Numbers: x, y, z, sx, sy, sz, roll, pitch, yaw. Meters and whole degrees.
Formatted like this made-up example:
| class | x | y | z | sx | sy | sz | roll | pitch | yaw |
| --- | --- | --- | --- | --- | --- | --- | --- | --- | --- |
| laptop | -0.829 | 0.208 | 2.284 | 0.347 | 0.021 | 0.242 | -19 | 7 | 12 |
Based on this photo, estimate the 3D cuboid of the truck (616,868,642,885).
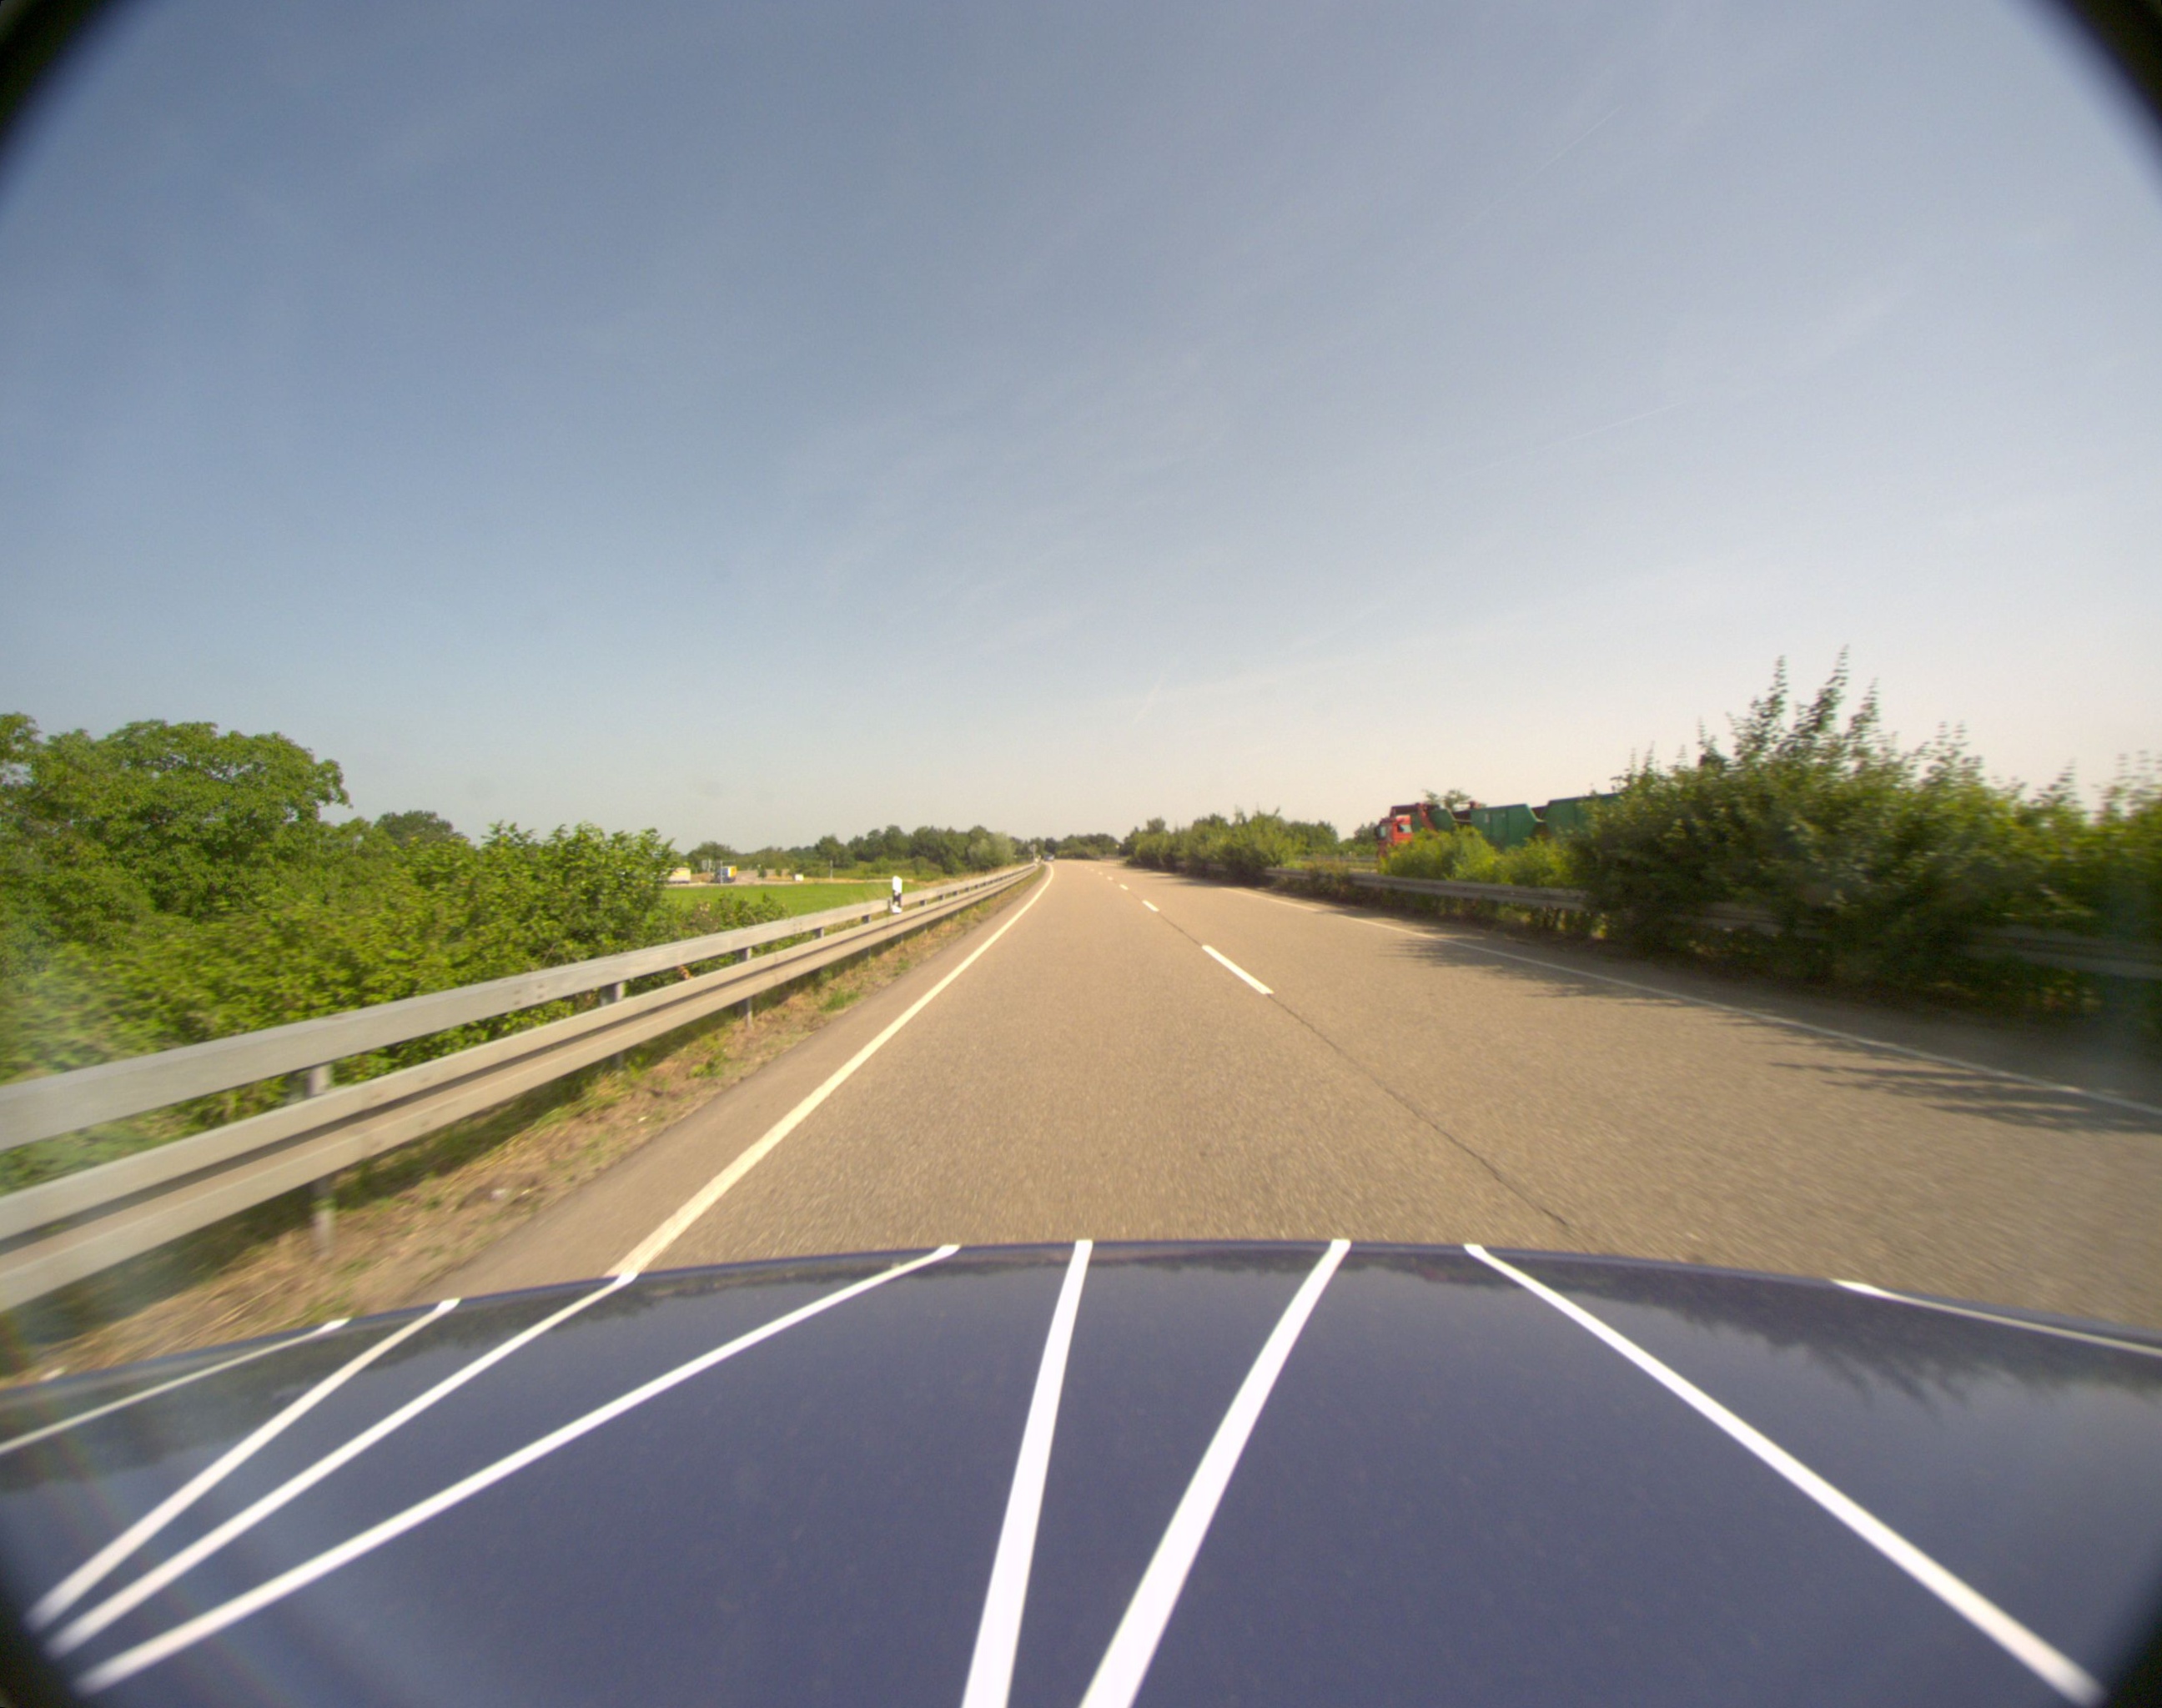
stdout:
| class | x | y | z | sx | sy | sz | roll | pitch | yaw |
| --- | --- | --- | --- | --- | --- | --- | --- | --- | --- |
| truck | -104.411 | 5.123 | 175.346 | 4.951 | 3.656 | 2.103 | -1 | 0 | -34 |

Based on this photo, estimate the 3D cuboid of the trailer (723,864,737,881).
| class | x | y | z | sx | sy | sz | roll | pitch | yaw |
| --- | --- | --- | --- | --- | --- | --- | --- | --- | --- |
| trailer | -92.119 | 4.736 | 199.472 | 2.264 | 4.145 | 14.400 | -1 | 0 | -21 |

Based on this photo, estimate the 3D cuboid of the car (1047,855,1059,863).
| class | x | y | z | sx | sy | sz | roll | pitch | yaw |
| --- | --- | --- | --- | --- | --- | --- | --- | --- | --- |
| car | -5.504 | 0.966 | 148.687 | 1.704 | 1.474 | 3.598 | -3 | -1 | -9 |

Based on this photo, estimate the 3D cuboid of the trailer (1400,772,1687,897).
| class | x | y | z | sx | sy | sz | roll | pitch | yaw |
| --- | --- | --- | --- | --- | --- | --- | --- | --- | --- |
| trailer | 15.469 | -0.574 | 27.497 | 1.999 | 3.356 | 13.424 | -2 | 0 | -1 |

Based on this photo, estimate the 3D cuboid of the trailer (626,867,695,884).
| class | x | y | z | sx | sy | sz | roll | pitch | yaw |
| --- | --- | --- | --- | --- | --- | --- | --- | --- | --- |
| trailer | -99.257 | 5.051 | 179.503 | 13.957 | 3.631 | 2.103 | -1 | 0 | -39 |

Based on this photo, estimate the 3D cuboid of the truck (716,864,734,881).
| class | x | y | z | sx | sy | sz | roll | pitch | yaw |
| --- | --- | --- | --- | --- | --- | --- | --- | --- | --- |
| truck | -90.375 | 4.684 | 193.120 | 2.259 | 4.145 | 4.373 | -1 | 0 | 5 |

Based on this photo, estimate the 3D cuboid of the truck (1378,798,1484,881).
| class | x | y | z | sx | sy | sz | roll | pitch | yaw |
| --- | --- | --- | --- | --- | --- | --- | --- | --- | --- |
| truck | 15.375 | -0.609 | 33.818 | 1.999 | 3.356 | 5.627 | -2 | 1 | -1 |
